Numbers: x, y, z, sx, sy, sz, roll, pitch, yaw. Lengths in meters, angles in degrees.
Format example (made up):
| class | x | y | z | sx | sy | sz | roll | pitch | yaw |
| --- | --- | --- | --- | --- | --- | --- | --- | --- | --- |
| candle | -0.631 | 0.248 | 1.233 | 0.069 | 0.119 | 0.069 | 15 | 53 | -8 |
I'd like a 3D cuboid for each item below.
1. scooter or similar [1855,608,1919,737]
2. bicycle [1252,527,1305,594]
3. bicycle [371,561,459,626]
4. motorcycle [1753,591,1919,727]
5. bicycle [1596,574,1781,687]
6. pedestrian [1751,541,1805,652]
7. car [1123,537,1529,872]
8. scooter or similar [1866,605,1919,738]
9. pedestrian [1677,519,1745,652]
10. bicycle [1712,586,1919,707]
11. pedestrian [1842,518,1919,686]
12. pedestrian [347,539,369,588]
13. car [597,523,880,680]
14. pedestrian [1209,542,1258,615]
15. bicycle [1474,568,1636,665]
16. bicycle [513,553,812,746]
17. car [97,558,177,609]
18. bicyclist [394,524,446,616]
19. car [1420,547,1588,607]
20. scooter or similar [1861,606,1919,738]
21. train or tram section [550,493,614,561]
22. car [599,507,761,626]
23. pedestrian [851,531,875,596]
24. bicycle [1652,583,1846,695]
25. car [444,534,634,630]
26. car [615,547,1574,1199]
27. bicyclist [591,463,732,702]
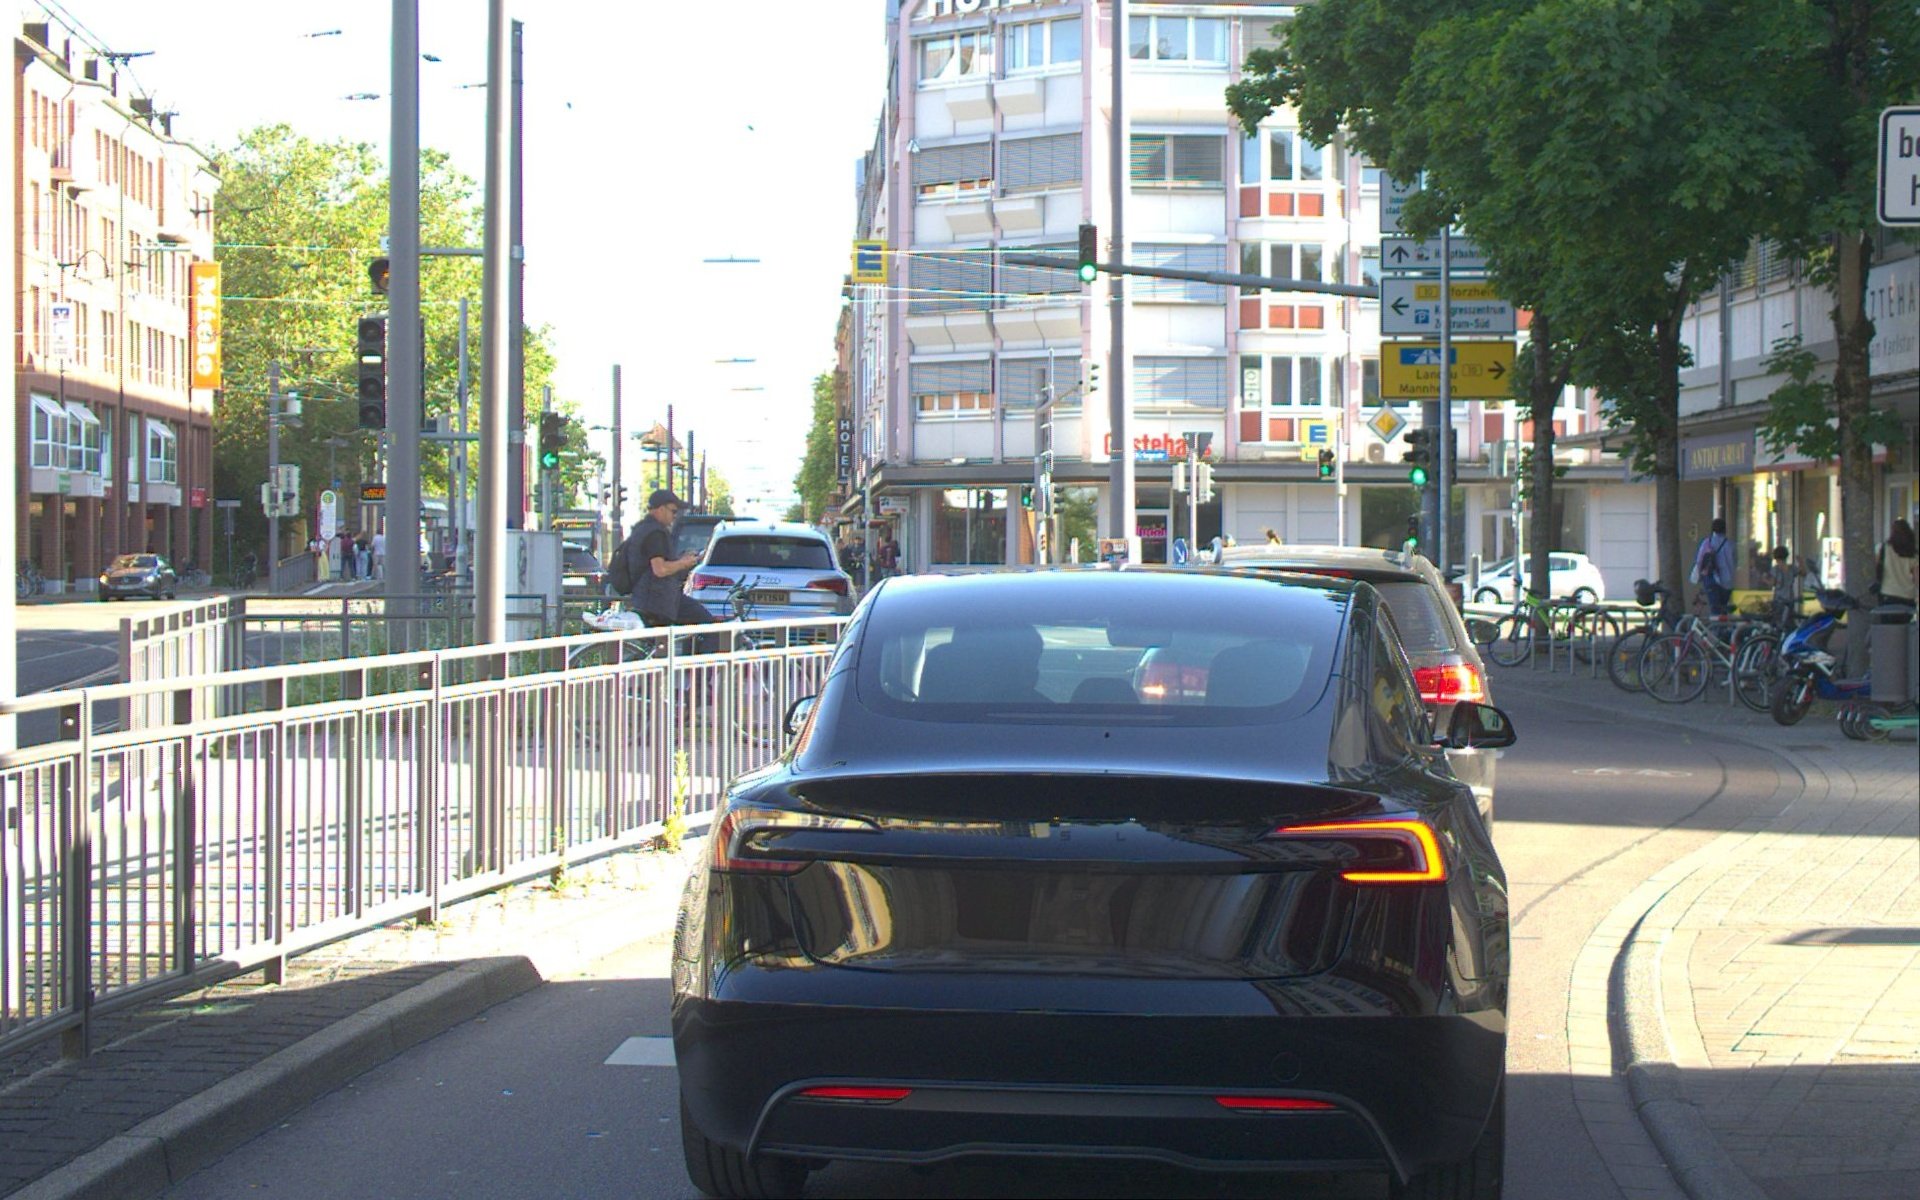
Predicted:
| class | x | y | z | sx | sy | sz | roll | pitch | yaw |
| --- | --- | --- | --- | --- | --- | --- | --- | --- | --- |
| scooter or similar | 7.619 | 0.576 | 27.336 | 0.964 | 1.023 | 0.160 | 0 | 1 | 3 |
| bicycle | 7.019 | -0.873 | 75.793 | 0.582 | 1.458 | 1.686 | 0 | 1 | -16 |
| bicycle | -10.590 | -0.126 | 66.745 | 0.627 | 1.219 | 2.040 | 0 | 1 | -44 |
| motorcycle | 7.696 | 0.499 | 29.189 | 1.787 | 1.126 | 0.504 | 1 | 0 | -3 |
| bicycle | 7.483 | 0.309 | 35.321 | 1.809 | 1.147 | 0.435 | 0 | 0 | -4 |
| pedestrian | 10.597 | -0.050 | 44.550 | 0.645 | 1.417 | 0.621 | 1 | 0 | 11 |
| car | 1.777 | 0.415 | 17.434 | 1.765 | 1.439 | 4.528 | 1 | 1 | 4 |
| scooter or similar | 7.608 | 0.558 | 26.937 | 0.964 | 1.039 | 0.160 | 0 | 1 | 3 |
| pedestrian | 9.834 | -0.193 | 45.025 | 0.843 | 1.715 | 0.879 | 1 | 0 | 12 |
| bicycle | 7.807 | 0.419 | 31.335 | 1.849 | 1.052 | 0.399 | -1 | 1 | -11 |
| pedestrian | 9.652 | 0.018 | 35.476 | 0.843 | 1.701 | 0.880 | 1 | 0 | -1 |
| pedestrian | -19.103 | -1.159 | 109.090 | 0.583 | 1.525 | 0.638 | 1 | 0 | -18 |
| car | -2.469 | -0.002 | 37.609 | 1.839 | 1.629 | 3.486 | 1 | 1 | -27 |
| pedestrian | 6.013 | -0.468 | 75.546 | 0.779 | 1.571 | 0.868 | 1 | 2 | -15 |
| bicycle | 7.331 | 0.198 | 42.411 | 1.890 | 1.152 | 0.480 | -1 | 0 | 0 |
| bicycle | -1.919 | 0.314 | 22.255 | 1.820 | 1.207 | 0.642 | 0 | 1 | -31 |
| car | -24.950 | -0.513 | 104.299 | 1.817 | 1.449 | 3.978 | -1 | 1 | -6 |
| bicyclist | -10.468 | -0.579 | 66.618 | 0.612 | 1.765 | 0.830 | 0 | 1 | -43 |
| car | 13.655 | -0.573 | 86.419 | 3.840 | 1.427 | 1.804 | 0 | -1 | -5 |
| scooter or similar | 7.614 | 0.568 | 27.135 | 0.956 | 1.035 | 0.160 | 0 | 1 | 3 |
| train or tram section | -20.144 | -3.849 | 183.619 | 2.729 | 3.530 | 10.088 | 1 | 1 | -3 |
| car | -4.049 | -0.483 | 49.244 | 1.572 | 1.612 | 3.784 | 1 | 1 | -16 |
| pedestrian | -2.674 | -1.017 | 94.800 | 0.626 | 1.776 | 0.918 | 1 | 0 | -2 |
| bicycle | 7.648 | 0.375 | 33.369 | 1.767 | 1.053 | 0.458 | 1 | 0 | 5 |
| car | -7.052 | -0.317 | 57.423 | 1.725 | 1.546 | 3.473 | 0 | 1 | -34 |
| car | 0.348 | 0.629 | 8.456 | 1.790 | 1.446 | 3.939 | 1 | 2 | 3 |
| bicyclist | -1.932 | -0.115 | 22.241 | 0.681 | 1.518 | 0.635 | 1 | 0 | -31 |
